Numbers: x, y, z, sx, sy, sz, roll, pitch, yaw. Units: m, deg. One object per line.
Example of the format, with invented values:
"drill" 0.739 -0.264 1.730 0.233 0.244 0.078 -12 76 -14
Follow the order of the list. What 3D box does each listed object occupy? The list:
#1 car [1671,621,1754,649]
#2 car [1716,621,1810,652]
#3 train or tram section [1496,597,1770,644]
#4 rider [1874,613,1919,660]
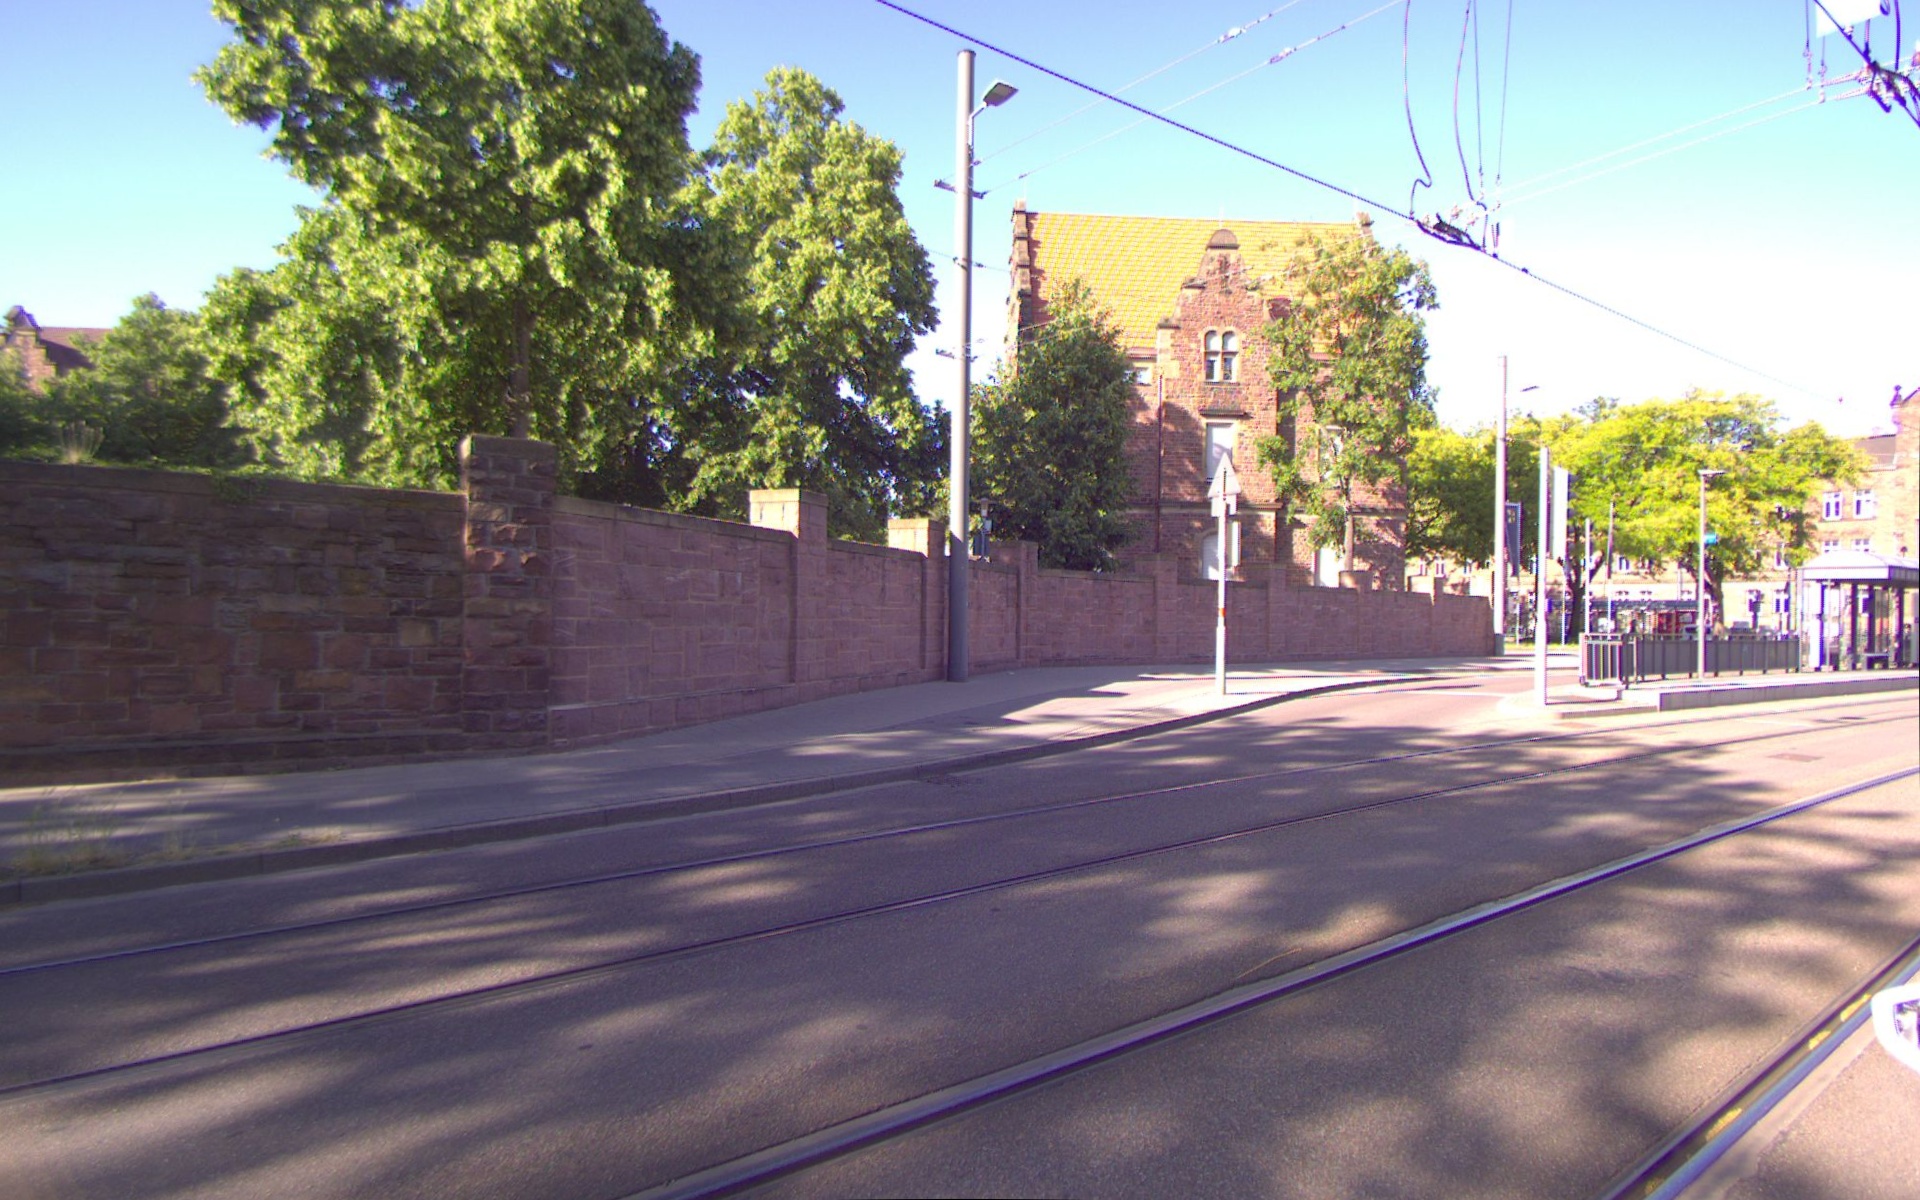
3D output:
"car" 49.177 2.247 65.691 1.798 1.651 3.964 2 0 -32
"car" 47.752 2.165 59.807 1.798 1.651 3.964 2 0 -32
"train or tram section" 50.026 1.464 75.895 3.312 3.196 17.280 2 -1 -33
"rider" 37.347 1.437 39.955 2.459 1.806 0.791 2 0 -31
